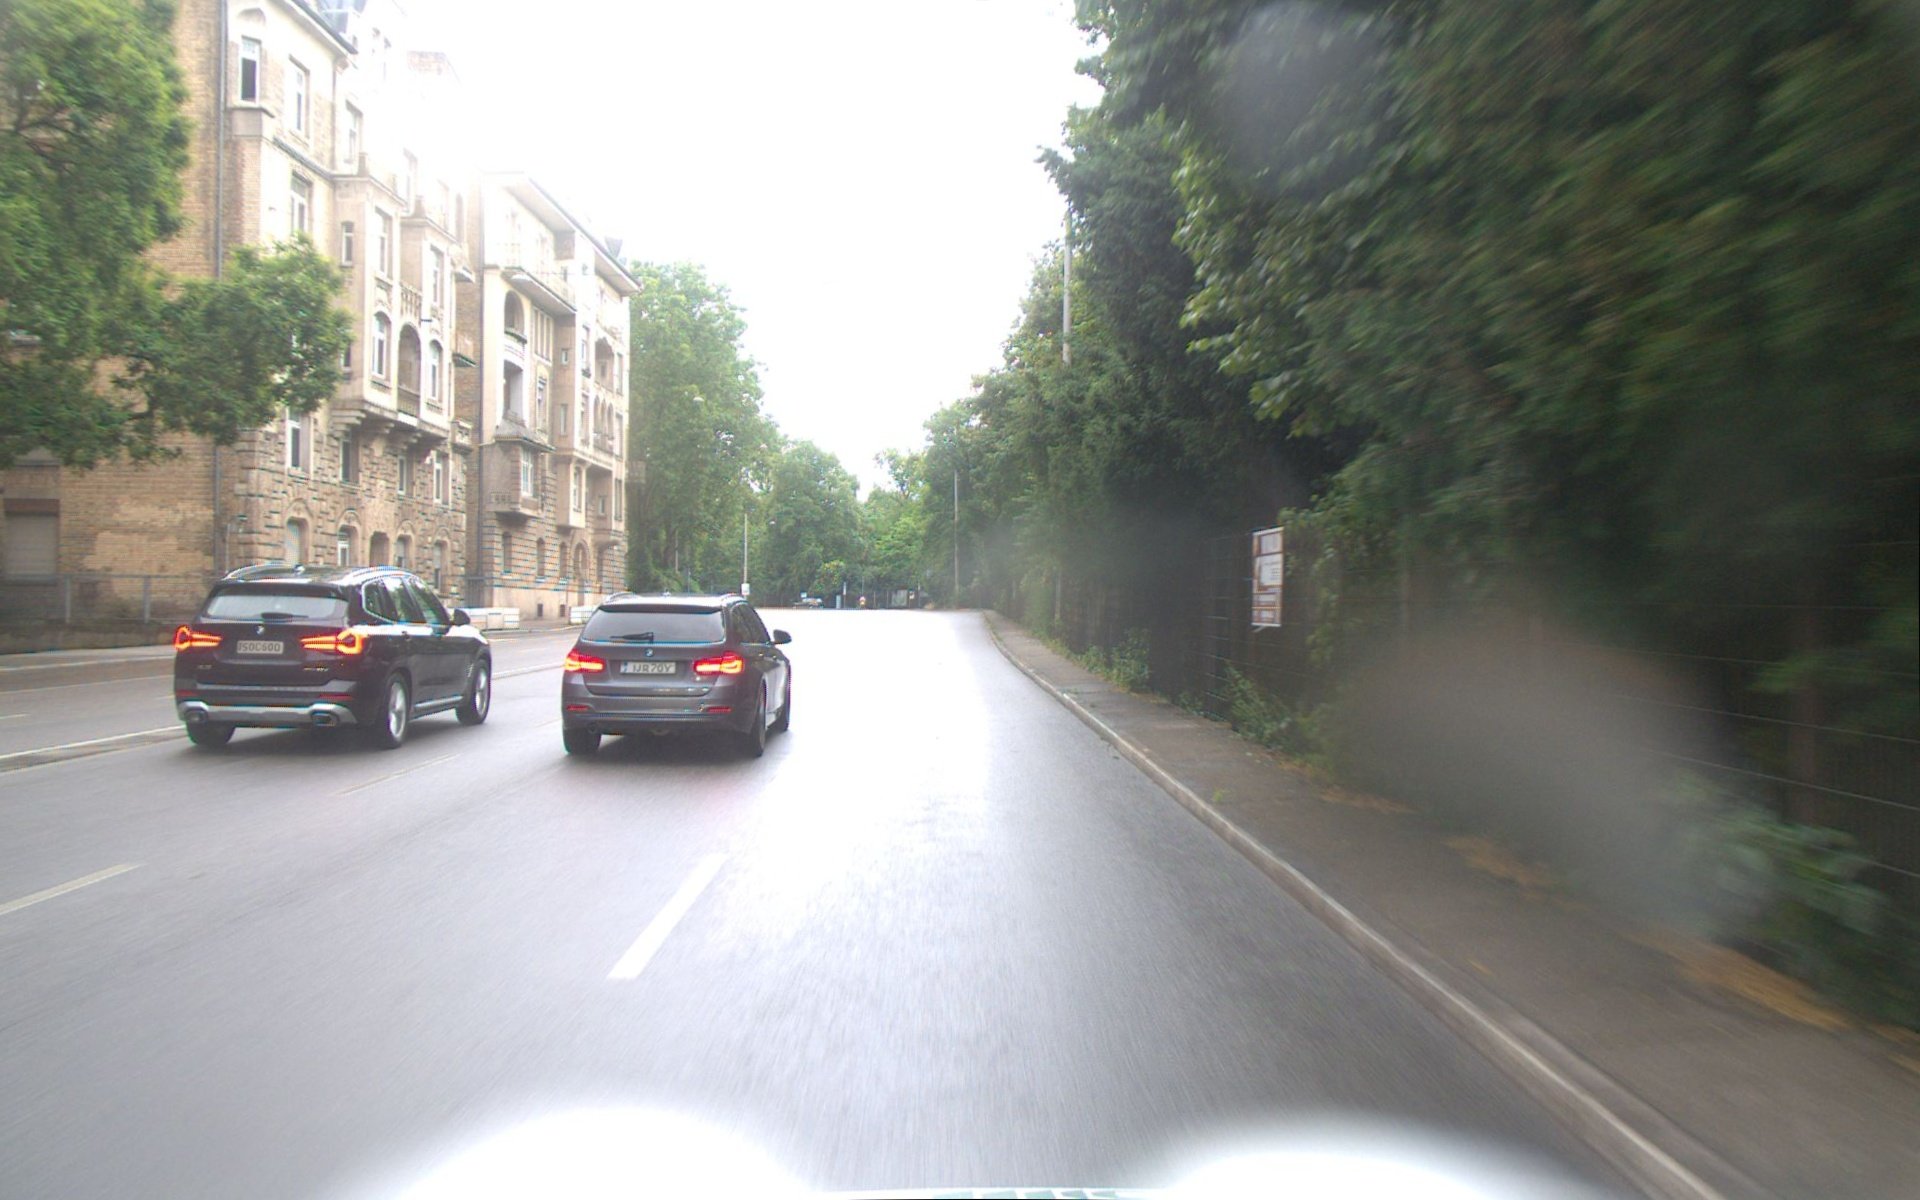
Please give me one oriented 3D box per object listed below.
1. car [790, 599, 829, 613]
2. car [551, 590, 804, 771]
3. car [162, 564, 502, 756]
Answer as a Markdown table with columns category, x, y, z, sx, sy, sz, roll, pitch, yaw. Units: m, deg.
| category | x | y | z | sx | sy | sz | roll | pitch | yaw |
| --- | --- | --- | --- | --- | --- | --- | --- | --- | --- |
| car | -16.153 | 0.632 | 177.052 | 4.295 | 1.452 | 1.681 | 0 | -3 | 44 |
| car | -2.572 | 0.676 | 16.060 | 1.722 | 1.457 | 4.411 | 2 | 0 | -1 |
| car | -5.990 | 0.516 | 16.383 | 1.722 | 1.613 | 4.411 | 1 | 0 | -1 |
